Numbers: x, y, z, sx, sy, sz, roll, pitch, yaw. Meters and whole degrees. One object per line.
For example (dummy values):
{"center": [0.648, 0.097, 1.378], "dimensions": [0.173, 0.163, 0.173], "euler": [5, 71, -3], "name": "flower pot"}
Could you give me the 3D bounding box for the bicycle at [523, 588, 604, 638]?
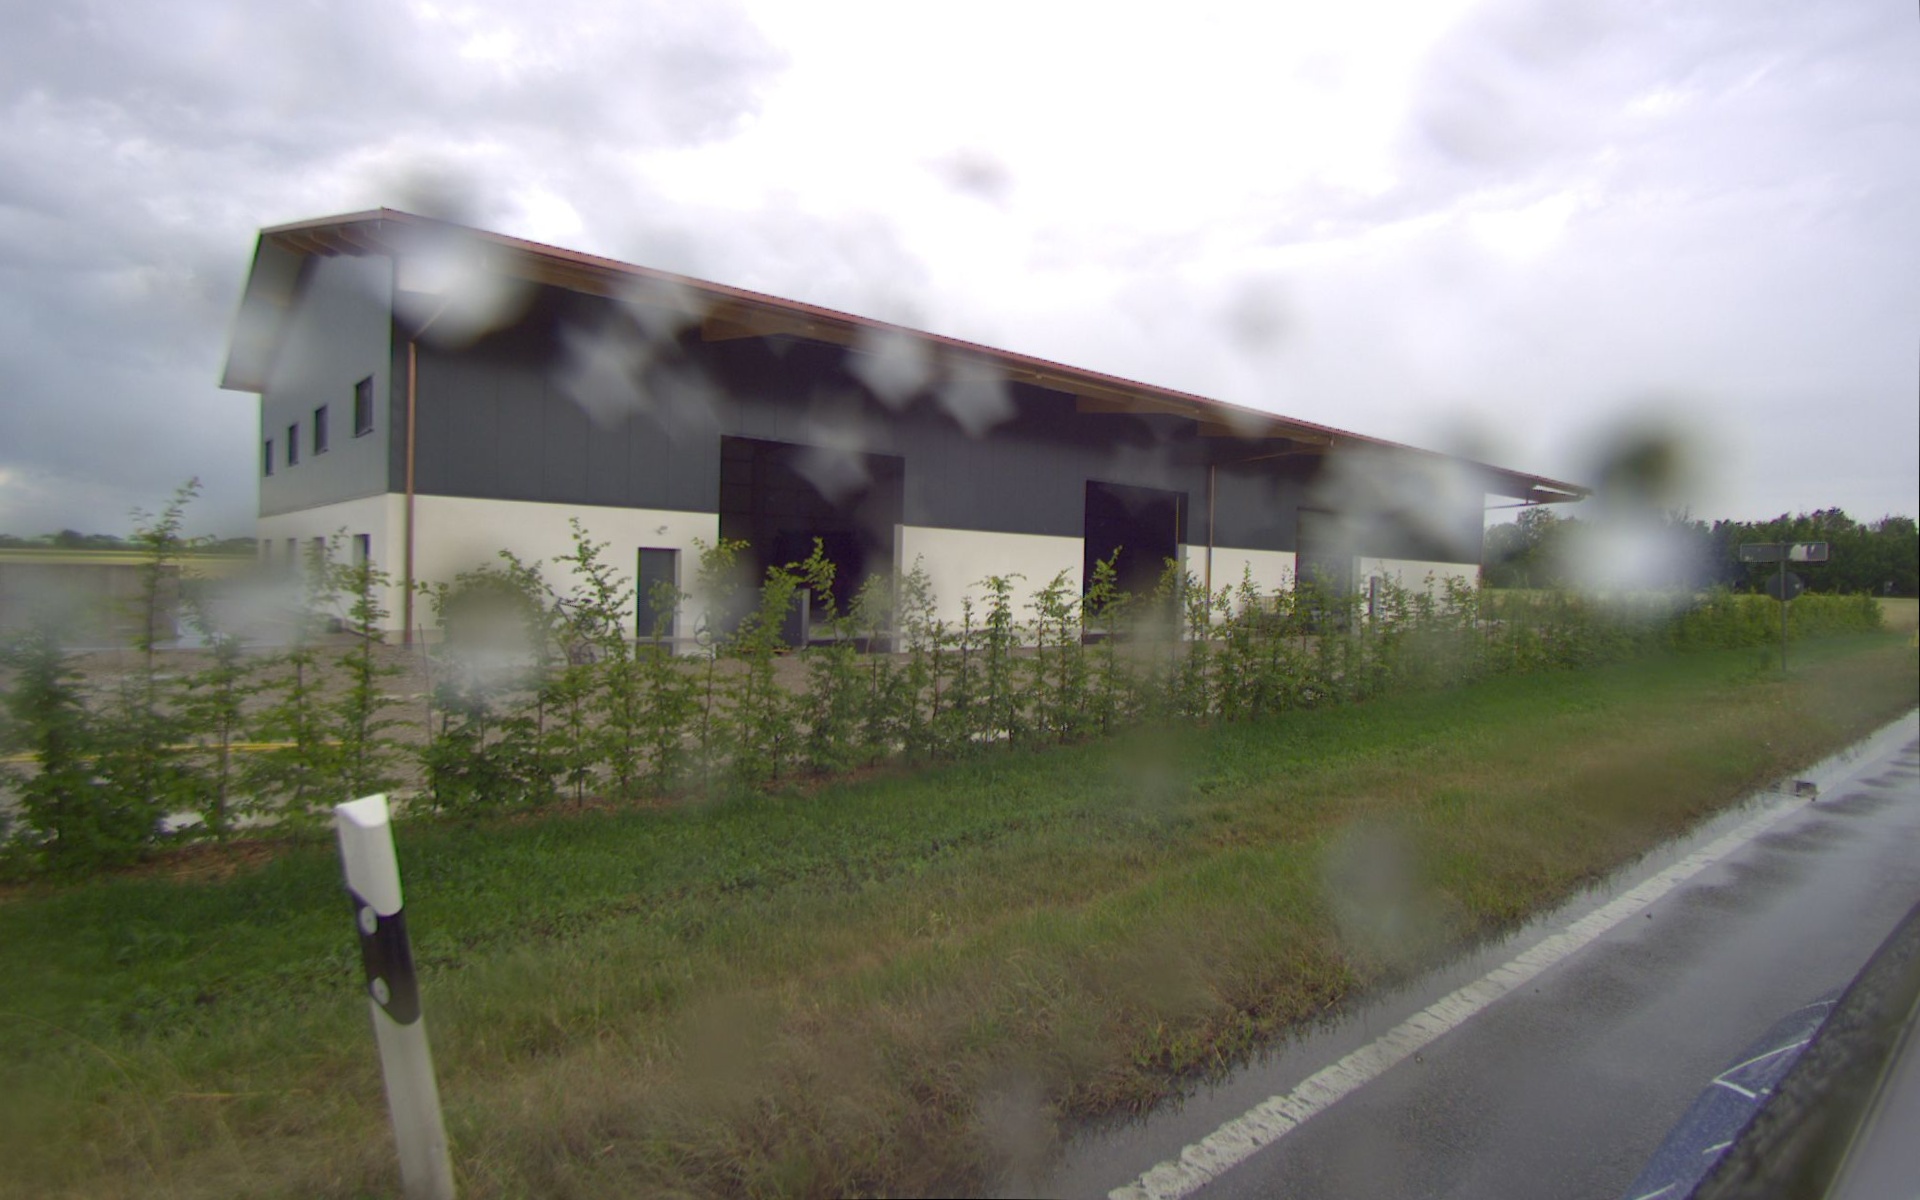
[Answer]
{"center": [-8.820, 0.272, 22.547], "dimensions": [1.631, 1.085, 0.391], "euler": [0, 2, -41], "name": "bicycle"}
